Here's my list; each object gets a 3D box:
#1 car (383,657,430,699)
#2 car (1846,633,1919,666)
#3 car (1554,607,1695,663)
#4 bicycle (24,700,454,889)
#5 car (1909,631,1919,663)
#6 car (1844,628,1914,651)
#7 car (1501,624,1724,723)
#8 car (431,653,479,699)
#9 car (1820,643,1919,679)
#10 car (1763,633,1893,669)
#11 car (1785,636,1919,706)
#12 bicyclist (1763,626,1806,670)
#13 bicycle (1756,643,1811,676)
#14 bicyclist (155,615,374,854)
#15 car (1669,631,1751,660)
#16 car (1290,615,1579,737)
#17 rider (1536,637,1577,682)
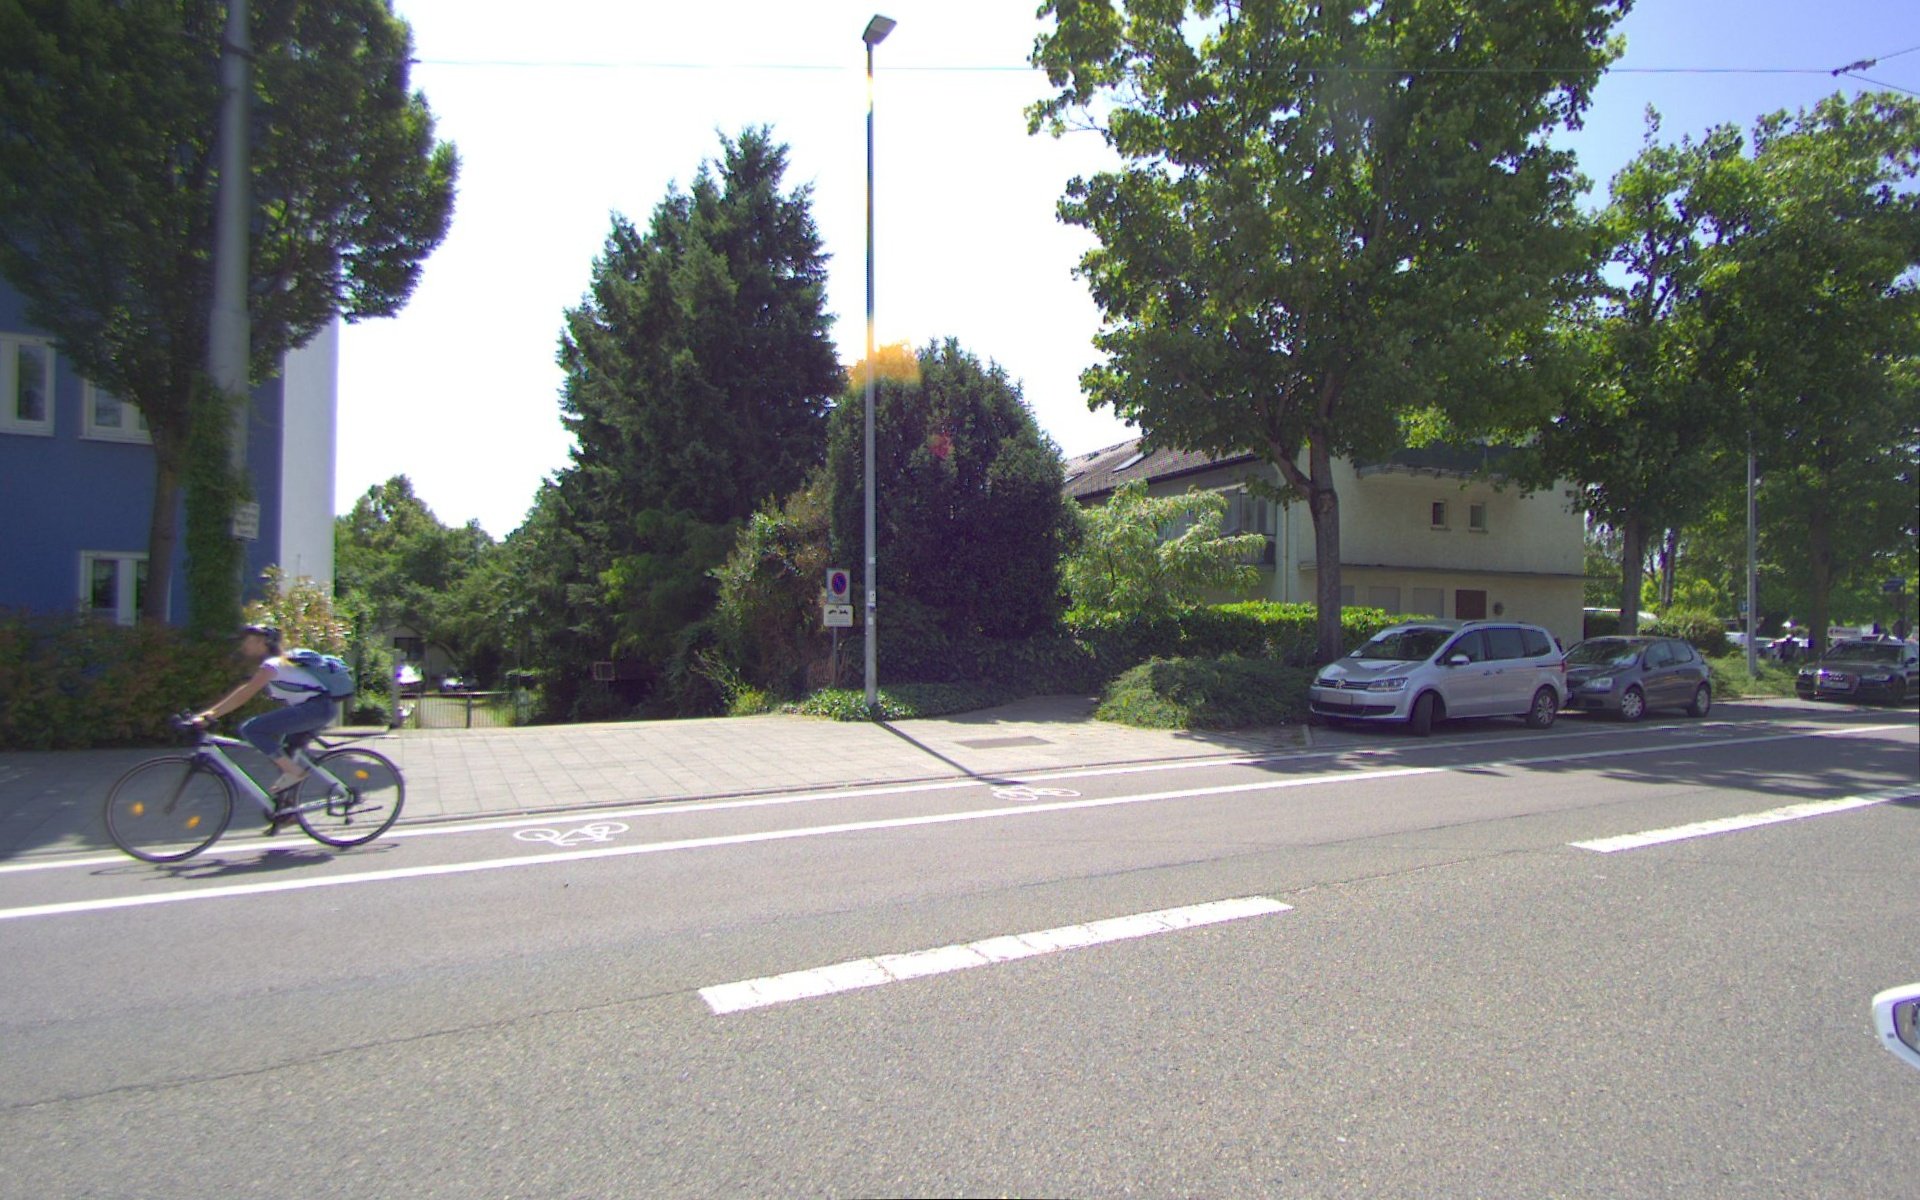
[{"bbox_3d":[-28.468,3.975,51.613,1.977,1.740,3.968,2,0,-30],"label":"car"},{"bbox_3d":[48.059,2.483,50.915,1.885,1.606,4.334,1,-2,-23],"label":"car"},{"bbox_3d":[40.507,2.099,61.515,2.337,3.005,6.817,2,0,-30],"label":"car"},{"bbox_3d":[-4.636,1.208,6.685,2.219,0.963,0.698,1,-3,-33],"label":"bicycle"},{"bbox_3d":[54.893,2.609,54.955,1.975,1.769,3.968,1,-2,-30],"label":"car"},{"bbox_3d":[78.155,3.345,85.456,1.795,1.638,4.000,2,0,-30],"label":"car"},{"bbox_3d":[12.148,1.295,18.659,4.132,1.585,1.810,1,0,-30],"label":"car"},{"bbox_3d":[-26.413,3.916,52.482,1.977,2.040,3.968,2,0,-30],"label":"car"},{"bbox_3d":[45.557,2.974,49.611,1.886,1.606,4.333,1,-2,-23],"label":"car"},{"bbox_3d":[41.073,2.376,47.611,1.891,1.606,4.321,1,-2,-31],"label":"car"},{"bbox_3d":[22.193,1.667,24.484,4.397,1.496,1.810,1,0,-31],"label":"car"},{"bbox_3d":[27.452,1.604,33.465,0.817,1.392,0.806,2,0,-27],"label":"bicyclist"},{"bbox_3d":[27.451,1.991,33.477,1.805,1.043,0.698,2,0,-27],"label":"bicycle"},{"bbox_3d":[-4.600,0.852,6.723,1.113,1.449,0.731,2,-4,-33],"label":"bicyclist"},{"bbox_3d":[49.244,2.980,66.001,1.799,1.675,3.957,2,0,-37],"label":"car"},{"bbox_3d":[7.650,1.121,16.072,4.725,1.687,1.864,1,-1,-30],"label":"car"},{"bbox_3d":[19.024,1.880,32.055,0.800,1.392,0.824,1,-1,-21],"label":"rider"}]
